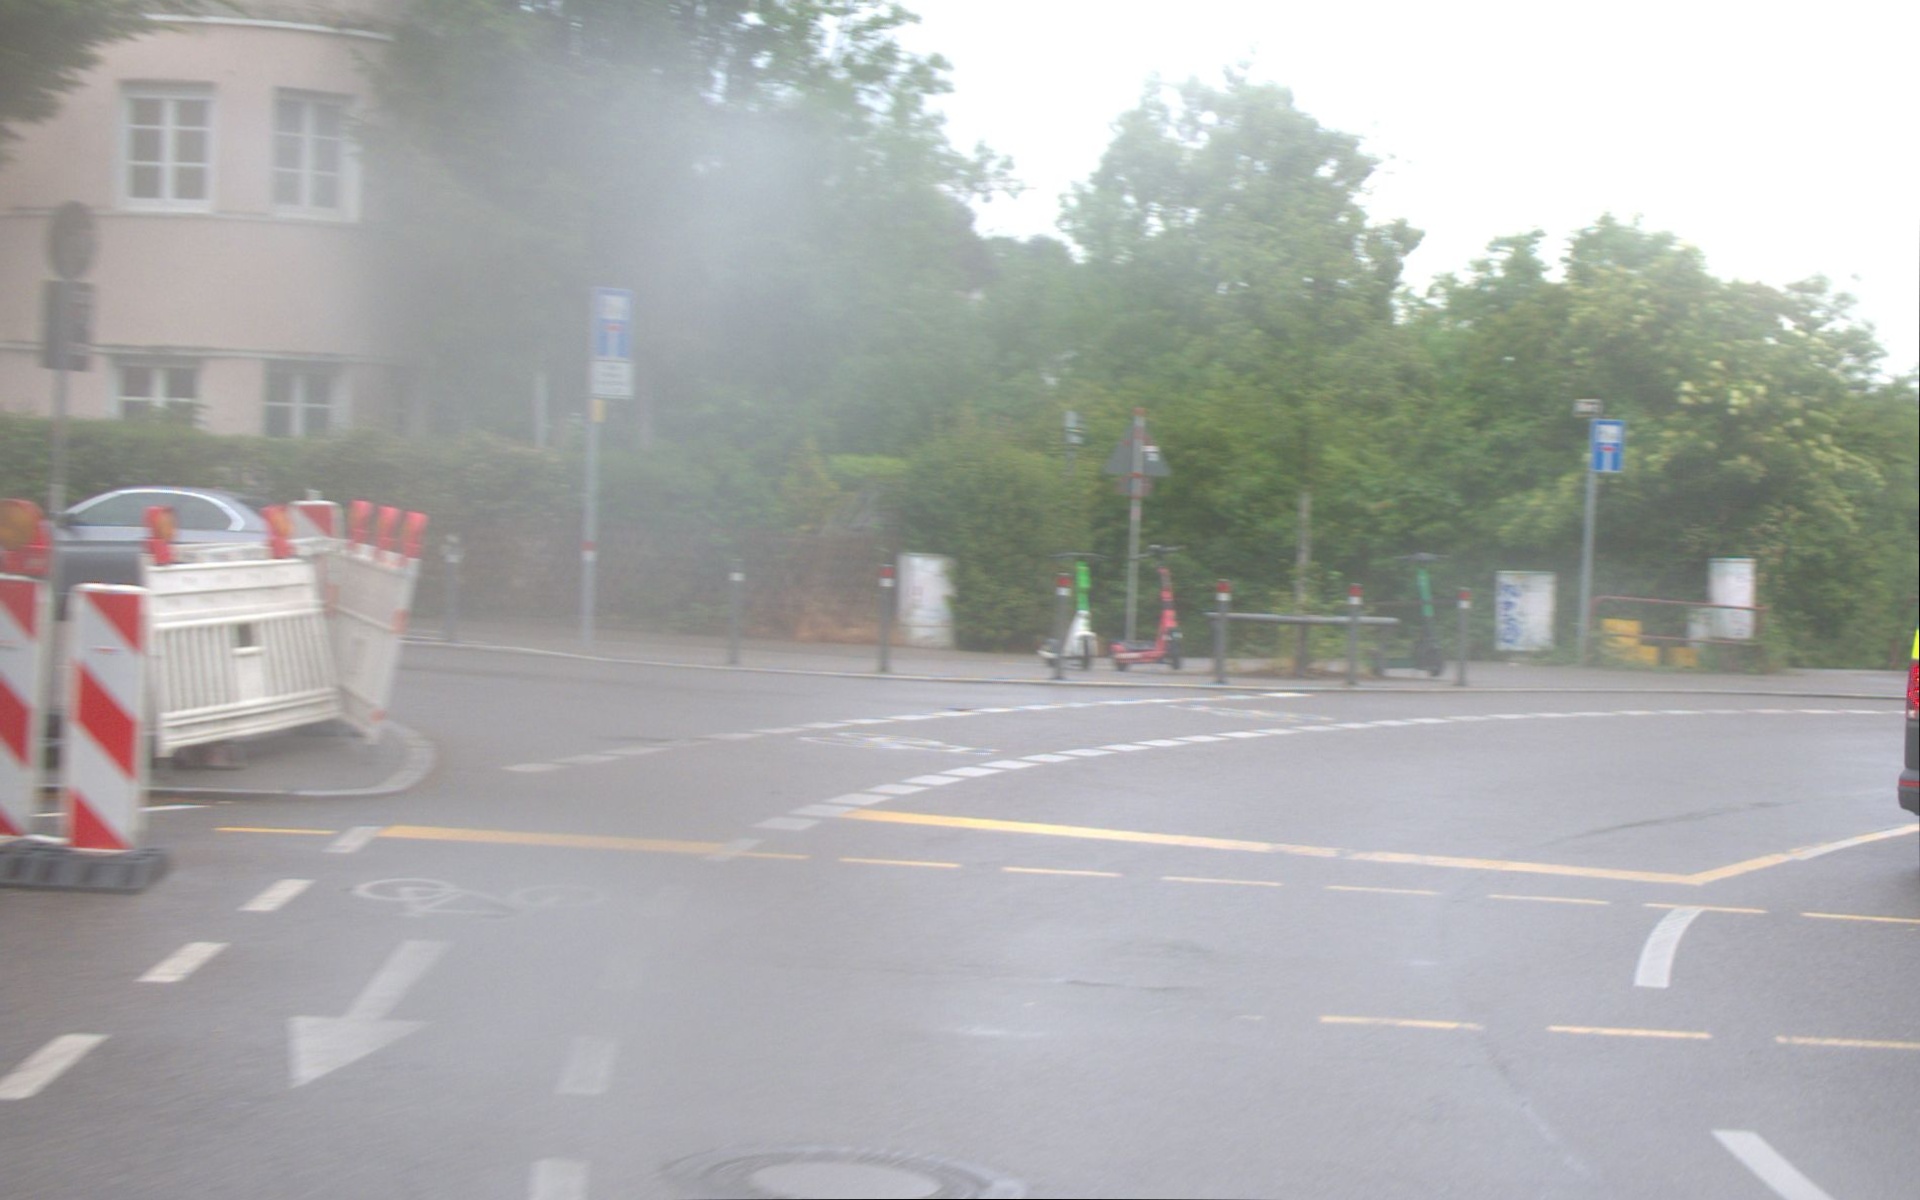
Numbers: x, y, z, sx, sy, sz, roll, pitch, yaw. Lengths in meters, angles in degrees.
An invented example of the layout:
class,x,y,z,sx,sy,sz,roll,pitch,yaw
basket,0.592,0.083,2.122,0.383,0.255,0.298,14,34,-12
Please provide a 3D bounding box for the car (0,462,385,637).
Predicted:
class,x,y,z,sx,sy,sz,roll,pitch,yaw
car,-7.804,-0.497,33.323,3.990,1.512,1.727,3,0,14

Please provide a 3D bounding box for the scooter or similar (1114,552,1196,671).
class,x,y,z,sx,sy,sz,roll,pitch,yaw
scooter or similar,1.931,0.108,34.138,0.464,1.140,0.995,3,0,-16

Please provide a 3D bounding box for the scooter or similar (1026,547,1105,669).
class,x,y,z,sx,sy,sz,roll,pitch,yaw
scooter or similar,1.054,0.069,34.407,0.464,1.182,1.026,3,0,-15

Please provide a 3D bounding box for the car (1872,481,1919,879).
class,x,y,z,sx,sy,sz,roll,pitch,yaw
car,6.717,0.487,18.778,1.912,2.003,4.430,3,0,34

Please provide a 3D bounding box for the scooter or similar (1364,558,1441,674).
class,x,y,z,sx,sy,sz,roll,pitch,yaw
scooter or similar,4.496,0.159,34.950,0.464,1.140,0.835,3,0,-14
